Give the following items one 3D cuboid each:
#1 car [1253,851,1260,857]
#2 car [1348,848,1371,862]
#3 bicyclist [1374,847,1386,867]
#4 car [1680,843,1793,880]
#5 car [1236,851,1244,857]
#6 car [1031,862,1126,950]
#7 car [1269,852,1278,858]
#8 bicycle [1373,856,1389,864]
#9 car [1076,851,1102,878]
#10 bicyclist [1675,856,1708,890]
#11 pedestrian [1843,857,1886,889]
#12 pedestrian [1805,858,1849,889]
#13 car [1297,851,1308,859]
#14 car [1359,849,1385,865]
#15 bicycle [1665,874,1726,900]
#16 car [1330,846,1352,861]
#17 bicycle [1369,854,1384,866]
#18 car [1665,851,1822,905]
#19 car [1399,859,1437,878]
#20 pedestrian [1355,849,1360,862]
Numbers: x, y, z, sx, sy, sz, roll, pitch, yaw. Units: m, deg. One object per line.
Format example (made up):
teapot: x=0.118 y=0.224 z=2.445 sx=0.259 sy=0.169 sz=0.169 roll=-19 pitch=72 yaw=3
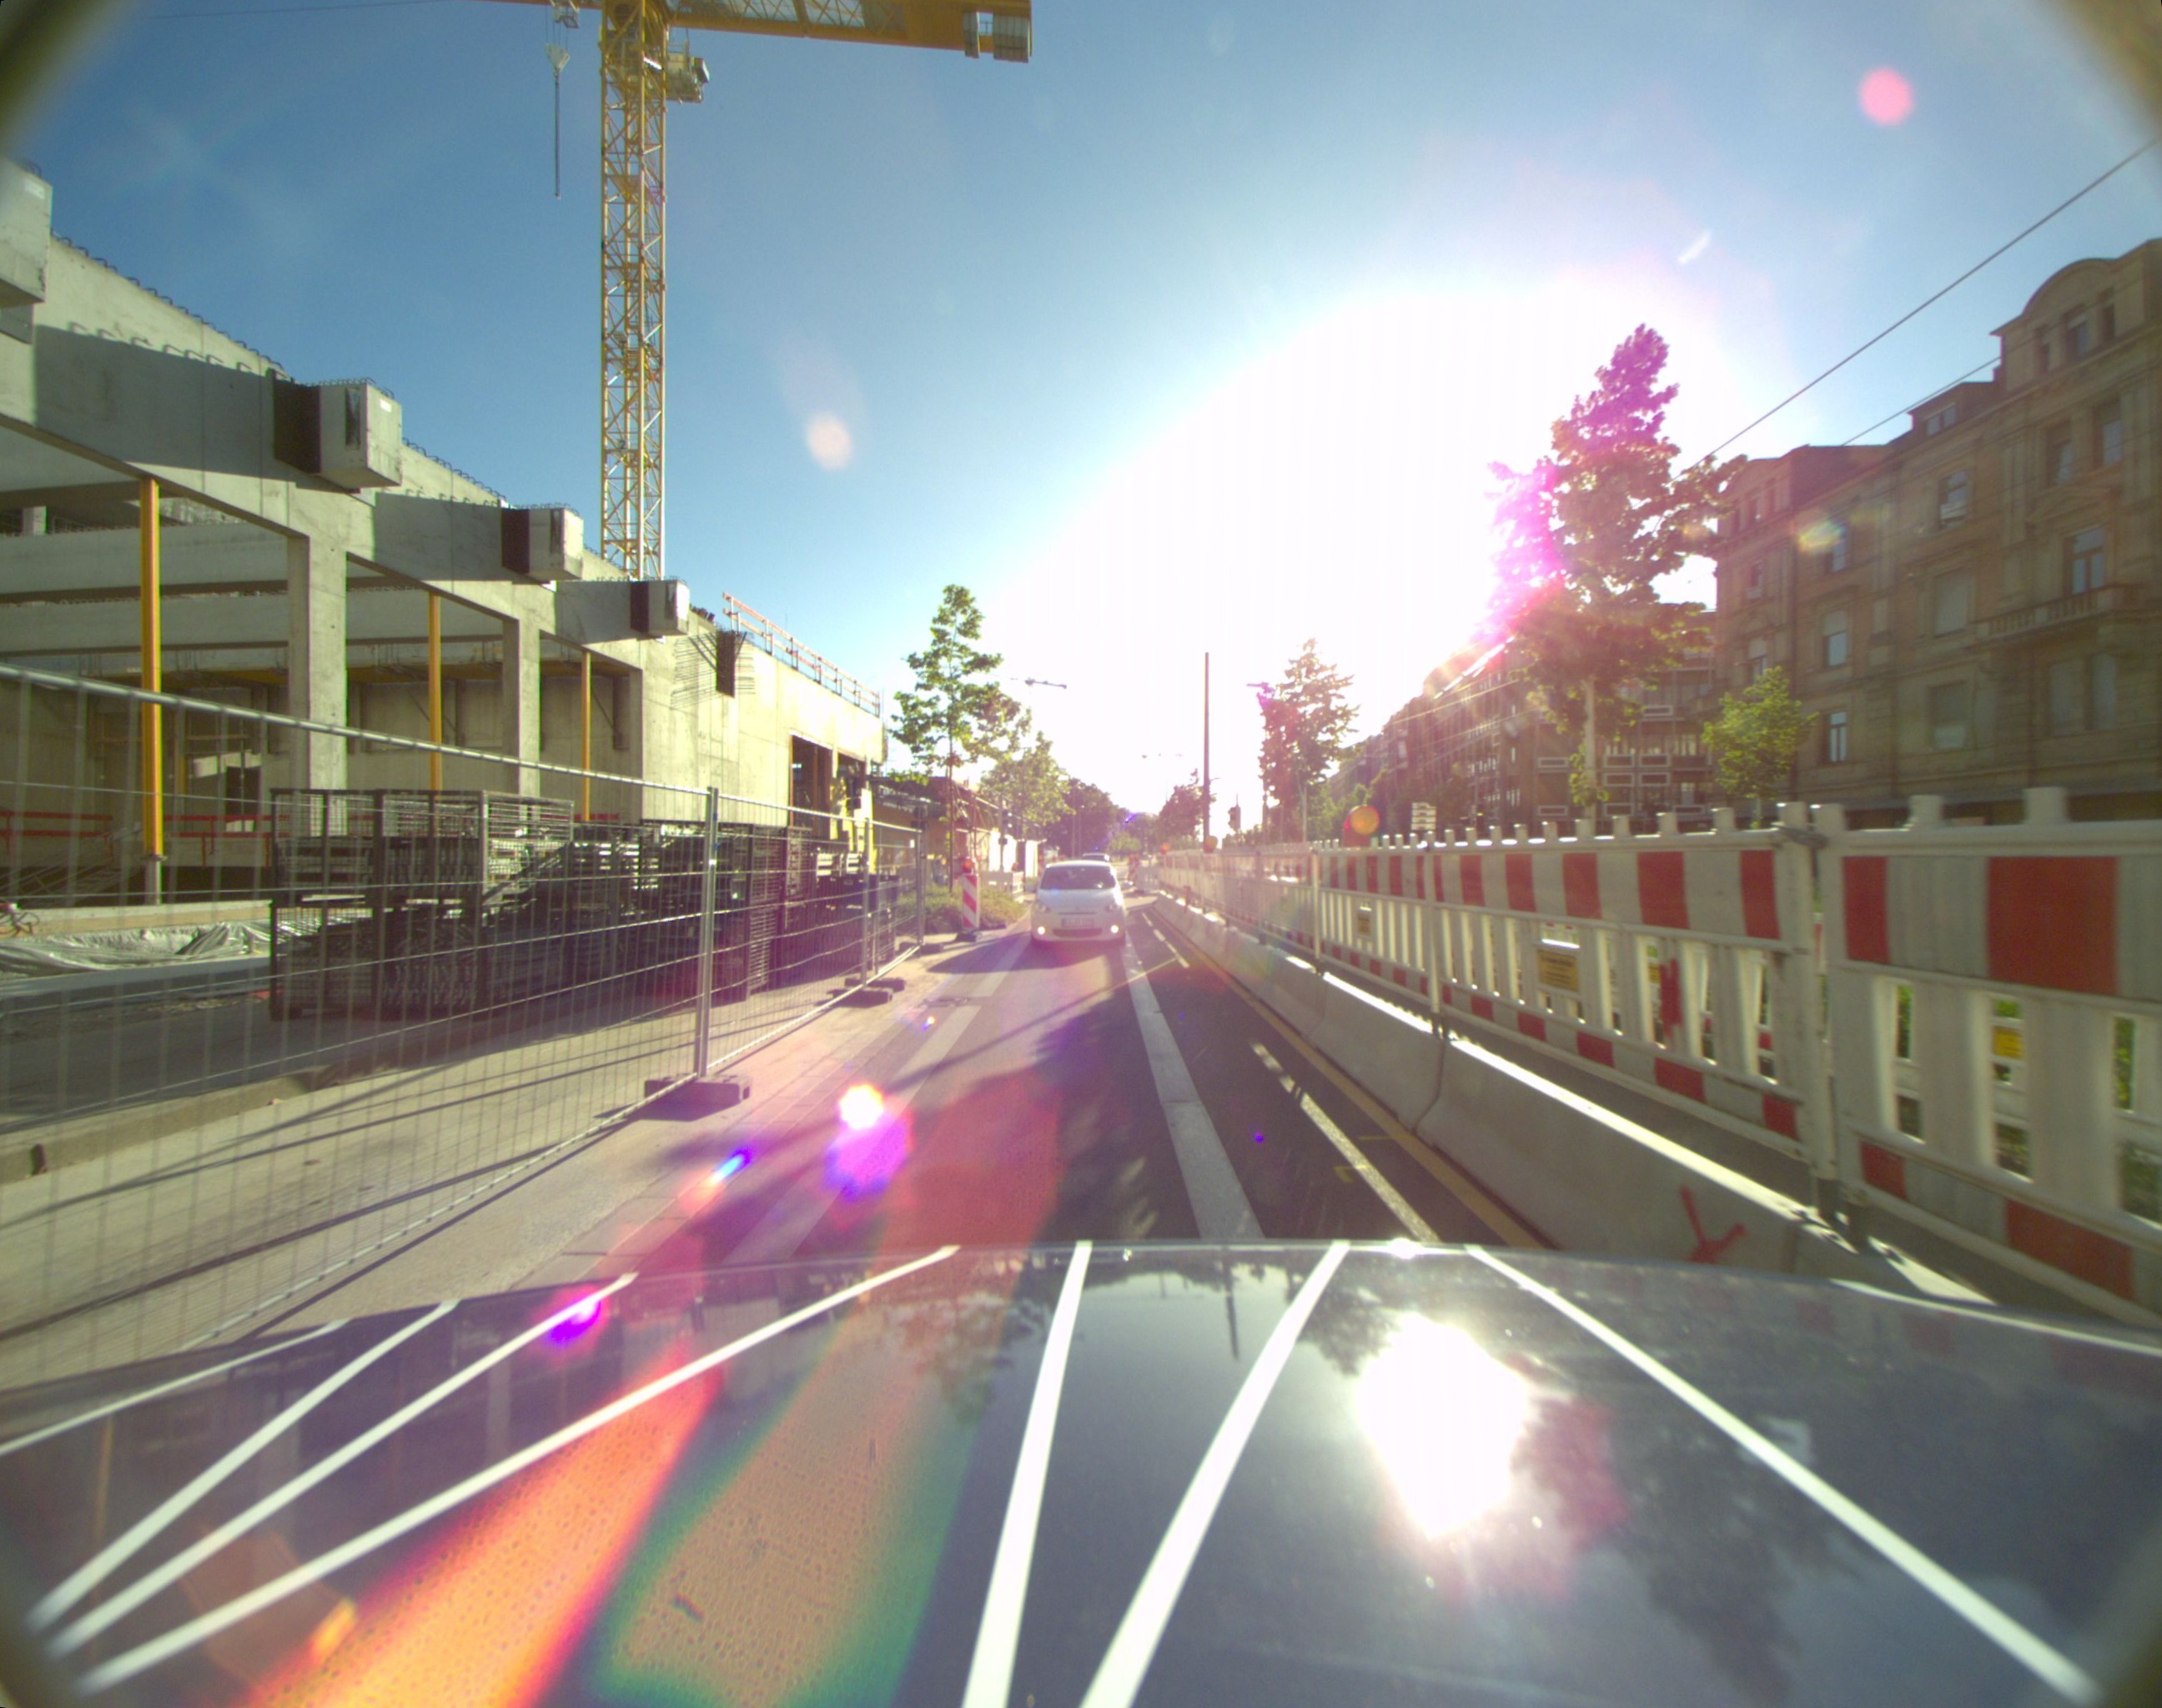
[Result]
car: x=45.191 y=0.104 z=195.916 sx=1.630 sy=1.487 sz=3.783 roll=1 pitch=0 yaw=10
car: x=29.671 y=0.073 z=81.117 sx=1.627 sy=1.433 sz=3.822 roll=-1 pitch=0 yaw=9
bicyclist: x=25.856 y=0.264 z=65.726 sx=0.696 sy=1.648 sz=0.882 roll=0 pitch=1 yaw=2
car: x=35.067 y=0.396 z=40.735 sx=4.522 sy=1.892 sz=1.898 roll=0 pitch=0 yaw=-3
car: x=42.658 y=0.043 z=203.779 sx=1.731 sy=1.736 sz=4.123 roll=0 pitch=0 yaw=7
car: x=0.000 y=0.934 z=15.127 sx=1.614 sy=1.488 sz=3.395 roll=-3 pitch=0 yaw=2
car: x=47.236 y=0.330 z=186.381 sx=1.719 sy=1.379 sz=4.041 roll=-1 pitch=0 yaw=6
bicycle: x=40.688 y=0.774 z=103.065 sx=1.877 sy=1.066 sz=0.425 roll=1 pitch=0 yaw=14
car: x=0.496 y=0.605 z=43.920 sx=1.458 sy=1.472 sz=3.528 roll=0 pitch=0 yaw=1
bicyclist: x=22.326 y=0.700 z=27.793 sx=0.638 sy=1.232 sz=0.738 roll=0 pitch=0 yaw=3
pedestrian: x=29.776 y=0.717 z=28.886 sx=0.692 sy=1.201 sz=0.929 roll=0 pitch=0 yaw=3
pedestrian: x=29.357 y=0.755 z=29.911 sx=0.793 sy=1.201 sz=0.929 roll=0 pitch=0 yaw=3
car: x=46.406 y=0.177 z=158.930 sx=1.725 sy=1.535 sz=3.634 roll=-2 pitch=0 yaw=9
car: x=29.175 y=0.331 z=76.286 sx=1.652 sy=1.545 sz=3.969 roll=0 pitch=0 yaw=9
bicycle: x=22.323 y=1.189 z=27.636 sx=0.638 sy=0.852 sz=2.031 roll=0 pitch=0 yaw=3
car: x=31.238 y=-0.008 z=91.495 sx=1.754 sy=1.761 sz=4.334 roll=-1 pitch=-1 yaw=9
bicycle: x=25.604 y=0.495 z=65.820 sx=0.696 sy=0.972 sz=1.827 roll=0 pitch=0 yaw=2
car: x=19.322 y=0.654 z=22.390 sx=1.598 sy=1.474 sz=3.624 roll=0 pitch=0 yaw=3
car: x=28.085 y=1.175 z=63.445 sx=1.734 sy=1.452 sz=3.902 roll=-2 pitch=0 yaw=5
pedestrian: x=38.488 y=0.214 z=105.708 sx=0.521 sy=1.712 sz=0.537 roll=1 pitch=0 yaw=13
